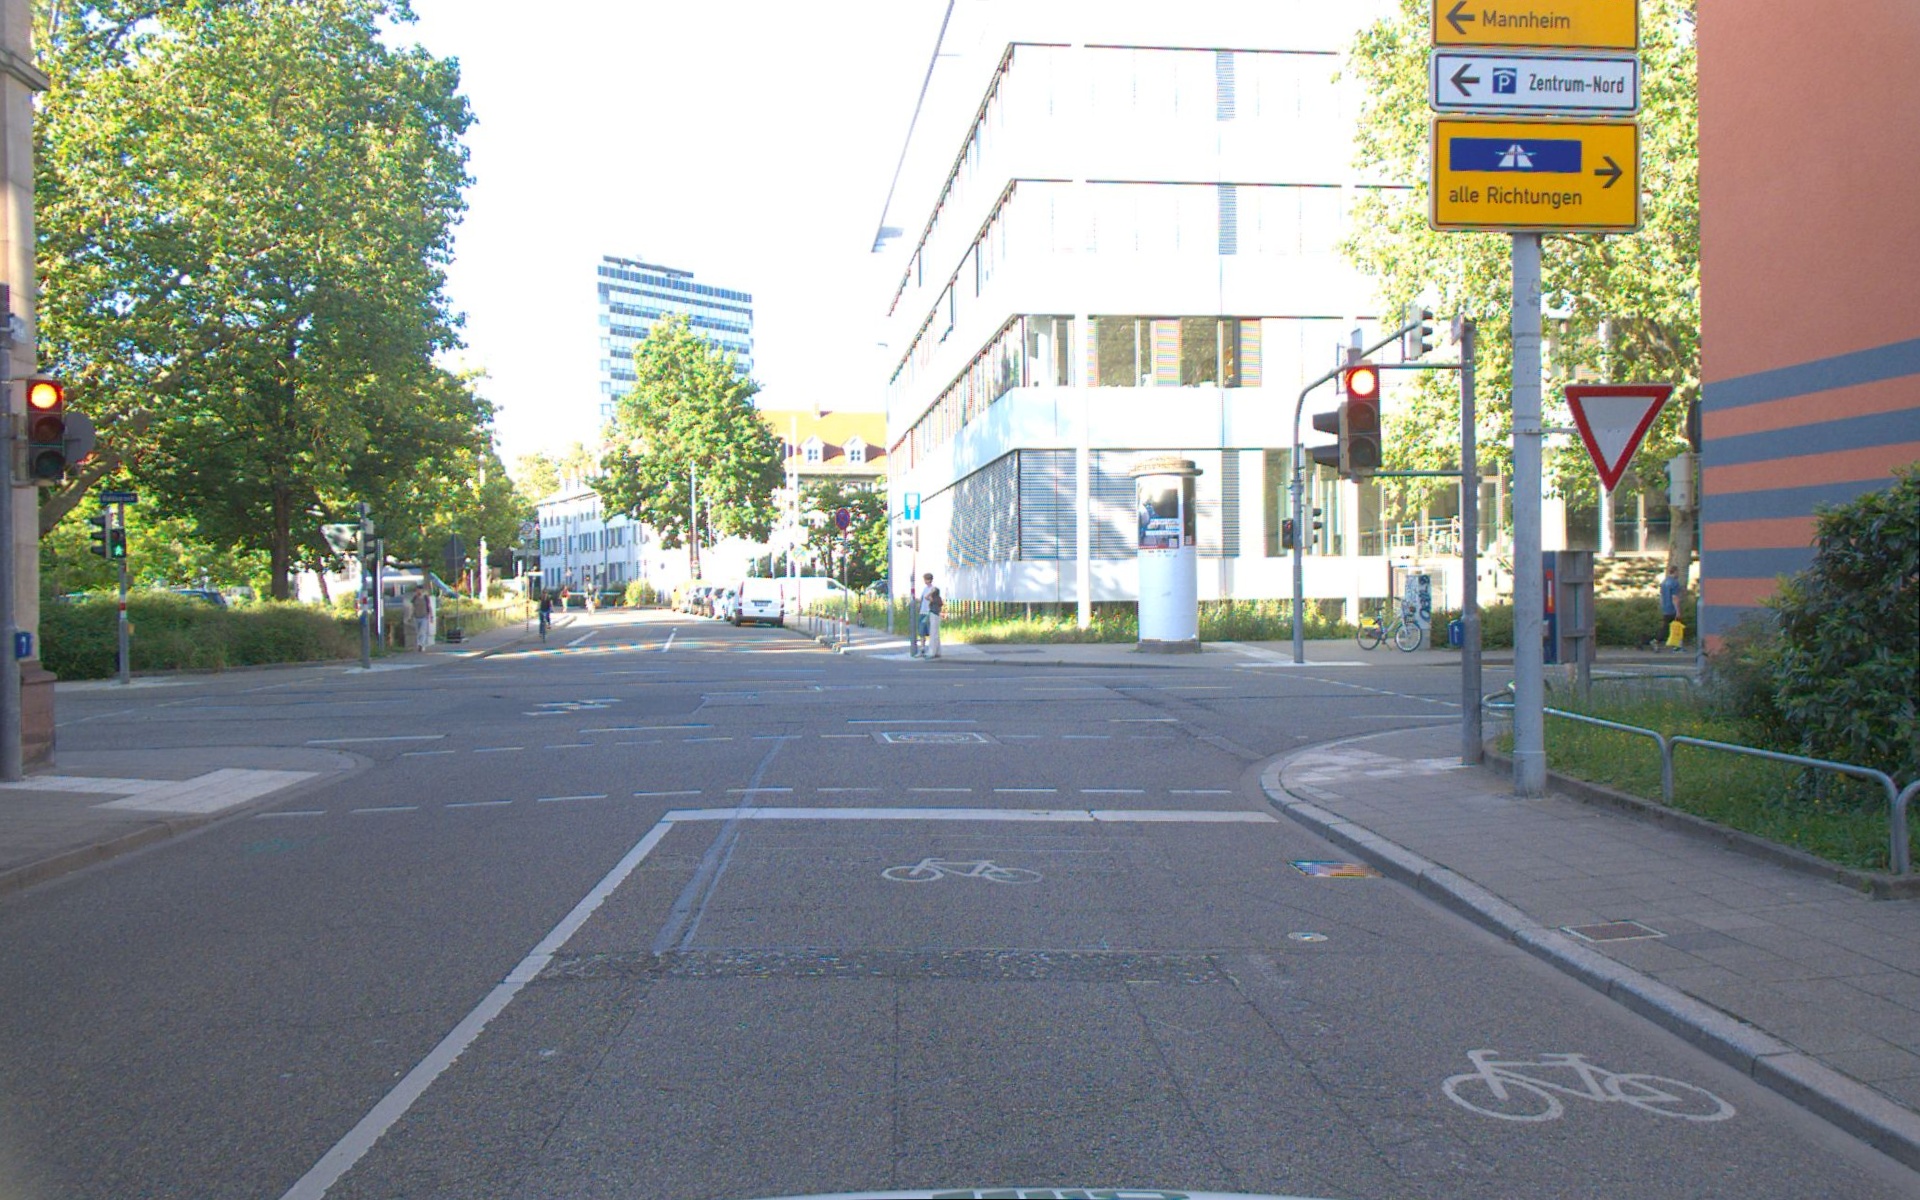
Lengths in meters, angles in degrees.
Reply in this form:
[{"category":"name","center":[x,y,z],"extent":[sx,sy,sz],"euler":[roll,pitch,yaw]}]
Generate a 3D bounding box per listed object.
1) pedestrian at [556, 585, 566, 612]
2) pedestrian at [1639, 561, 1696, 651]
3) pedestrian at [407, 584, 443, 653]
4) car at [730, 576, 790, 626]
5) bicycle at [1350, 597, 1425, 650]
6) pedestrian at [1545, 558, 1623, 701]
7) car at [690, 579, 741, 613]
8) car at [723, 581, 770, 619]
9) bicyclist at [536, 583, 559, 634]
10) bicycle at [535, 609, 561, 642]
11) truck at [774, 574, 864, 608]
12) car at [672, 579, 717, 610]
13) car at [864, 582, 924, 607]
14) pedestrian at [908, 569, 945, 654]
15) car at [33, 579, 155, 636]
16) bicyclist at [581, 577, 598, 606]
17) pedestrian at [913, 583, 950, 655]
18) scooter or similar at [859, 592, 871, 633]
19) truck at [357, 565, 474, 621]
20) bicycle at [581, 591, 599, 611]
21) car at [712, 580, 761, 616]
[{"category":"pedestrian","center":[-24.846,-0.101,102.989],"extent":[0.428,1.636,0.488],"euler":[-1,0,-27]},{"category":"pedestrian","center":[14.833,0.120,34.674],"extent":[0.819,1.872,0.707],"euler":[1,0,-11]},{"category":"pedestrian","center":[-13.930,0.466,43.061],"extent":[0.690,1.753,0.953],"euler":[-2,0,-10]},{"category":"car","center":[-7.845,-0.011,64.628],"extent":[2.047,1.827,4.404],"euler":[0,1,-10]},{"category":"bicycle","center":[9.349,0.498,36.188],"extent":[0.503,1.067,1.667],"euler":[-3,4,-35]},{"category":"pedestrian","center":[8.358,0.379,22.195],"extent":[0.692,1.872,0.837],"euler":[1,0,-1]},{"category":"car","center":[-12.671,-0.224,85.387],"extent":[1.860,1.684,4.391],"euler":[0,1,-19]},{"category":"car","center":[-9.440,-0.026,72.816],"extent":[1.854,1.582,4.404],"euler":[0,1,-10]},{"category":"bicyclist","center":[-12.849,0.271,51.528],"extent":[0.604,1.559,0.901],"euler":[-1,0,-9]},{"category":"bicycle","center":[-12.878,0.790,51.691],"extent":[0.604,0.986,1.837],"euler":[-1,1,-9]},{"category":"truck","center":[-8.775,-0.561,102.942],"extent":[5.258,2.049,1.989],"euler":[-1,0,-20]},{"category":"car","center":[-15.344,-0.336,95.283],"extent":[1.860,1.684,4.391],"euler":[0,1,-19]},{"category":"car","center":[-4.160,-0.345,104.197],"extent":[3.502,1.573,1.549],"euler":[-1,0,-20]},{"category":"pedestrian","center":[-0.760,0.266,37.807],"extent":[0.547,1.882,0.678],"euler":[-3,1,15]},{"category":"car","center":[-39.974,0.330,76.459],"extent":[4.472,2.433,2.069],"euler":[-2,0,-10]},{"category":"bicyclist","center":[-20.281,-0.477,90.554],"extent":[0.851,1.541,1.016],"euler":[-3,0,-12]},{"category":"pedestrian","center":[-0.645,0.432,37.203],"extent":[0.551,1.567,0.673],"euler":[-4,1,-19]},{"category":"scooter or similar","center":[-3.363,0.439,58.529],"extent":[0.324,1.449,1.333],"euler":[1,0,-6]},{"category":"truck","center":[-24.563,-0.327,74.775],"extent":[4.741,2.441,2.082],"euler":[0,1,-11]},{"category":"bicycle","center":[-20.259,0.041,90.541],"extent":[0.851,1.027,2.407],"euler":[-3,0,-12]},{"category":"car","center":[-10.607,-0.101,78.169],"extent":[1.856,1.582,4.400],"euler":[0,1,-14]}]
